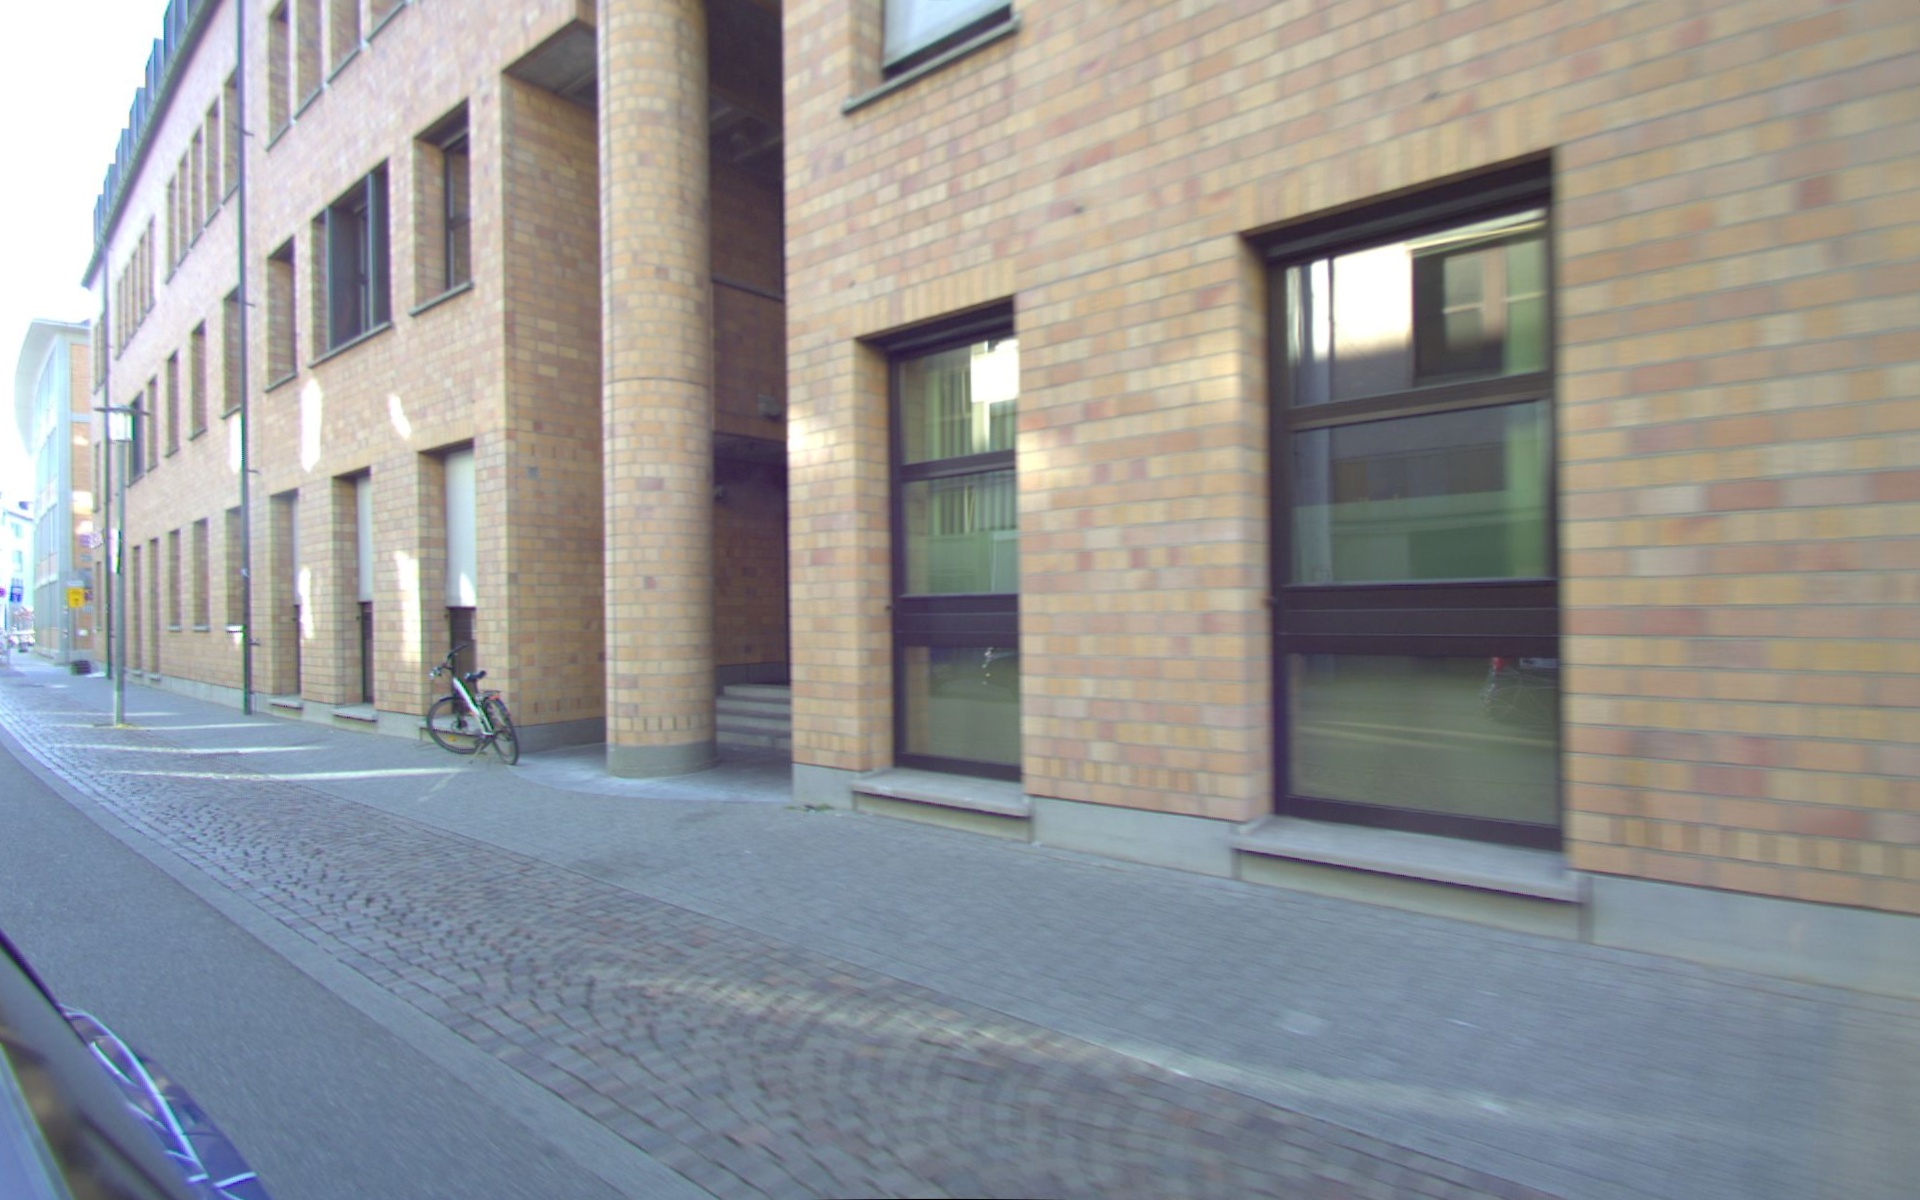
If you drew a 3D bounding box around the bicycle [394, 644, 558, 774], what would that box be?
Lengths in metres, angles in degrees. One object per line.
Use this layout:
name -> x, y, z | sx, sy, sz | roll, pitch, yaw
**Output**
bicycle -> -4.920, 1.061, 10.249 | 1.799, 1.171, 0.626 | -2, 1, 34
